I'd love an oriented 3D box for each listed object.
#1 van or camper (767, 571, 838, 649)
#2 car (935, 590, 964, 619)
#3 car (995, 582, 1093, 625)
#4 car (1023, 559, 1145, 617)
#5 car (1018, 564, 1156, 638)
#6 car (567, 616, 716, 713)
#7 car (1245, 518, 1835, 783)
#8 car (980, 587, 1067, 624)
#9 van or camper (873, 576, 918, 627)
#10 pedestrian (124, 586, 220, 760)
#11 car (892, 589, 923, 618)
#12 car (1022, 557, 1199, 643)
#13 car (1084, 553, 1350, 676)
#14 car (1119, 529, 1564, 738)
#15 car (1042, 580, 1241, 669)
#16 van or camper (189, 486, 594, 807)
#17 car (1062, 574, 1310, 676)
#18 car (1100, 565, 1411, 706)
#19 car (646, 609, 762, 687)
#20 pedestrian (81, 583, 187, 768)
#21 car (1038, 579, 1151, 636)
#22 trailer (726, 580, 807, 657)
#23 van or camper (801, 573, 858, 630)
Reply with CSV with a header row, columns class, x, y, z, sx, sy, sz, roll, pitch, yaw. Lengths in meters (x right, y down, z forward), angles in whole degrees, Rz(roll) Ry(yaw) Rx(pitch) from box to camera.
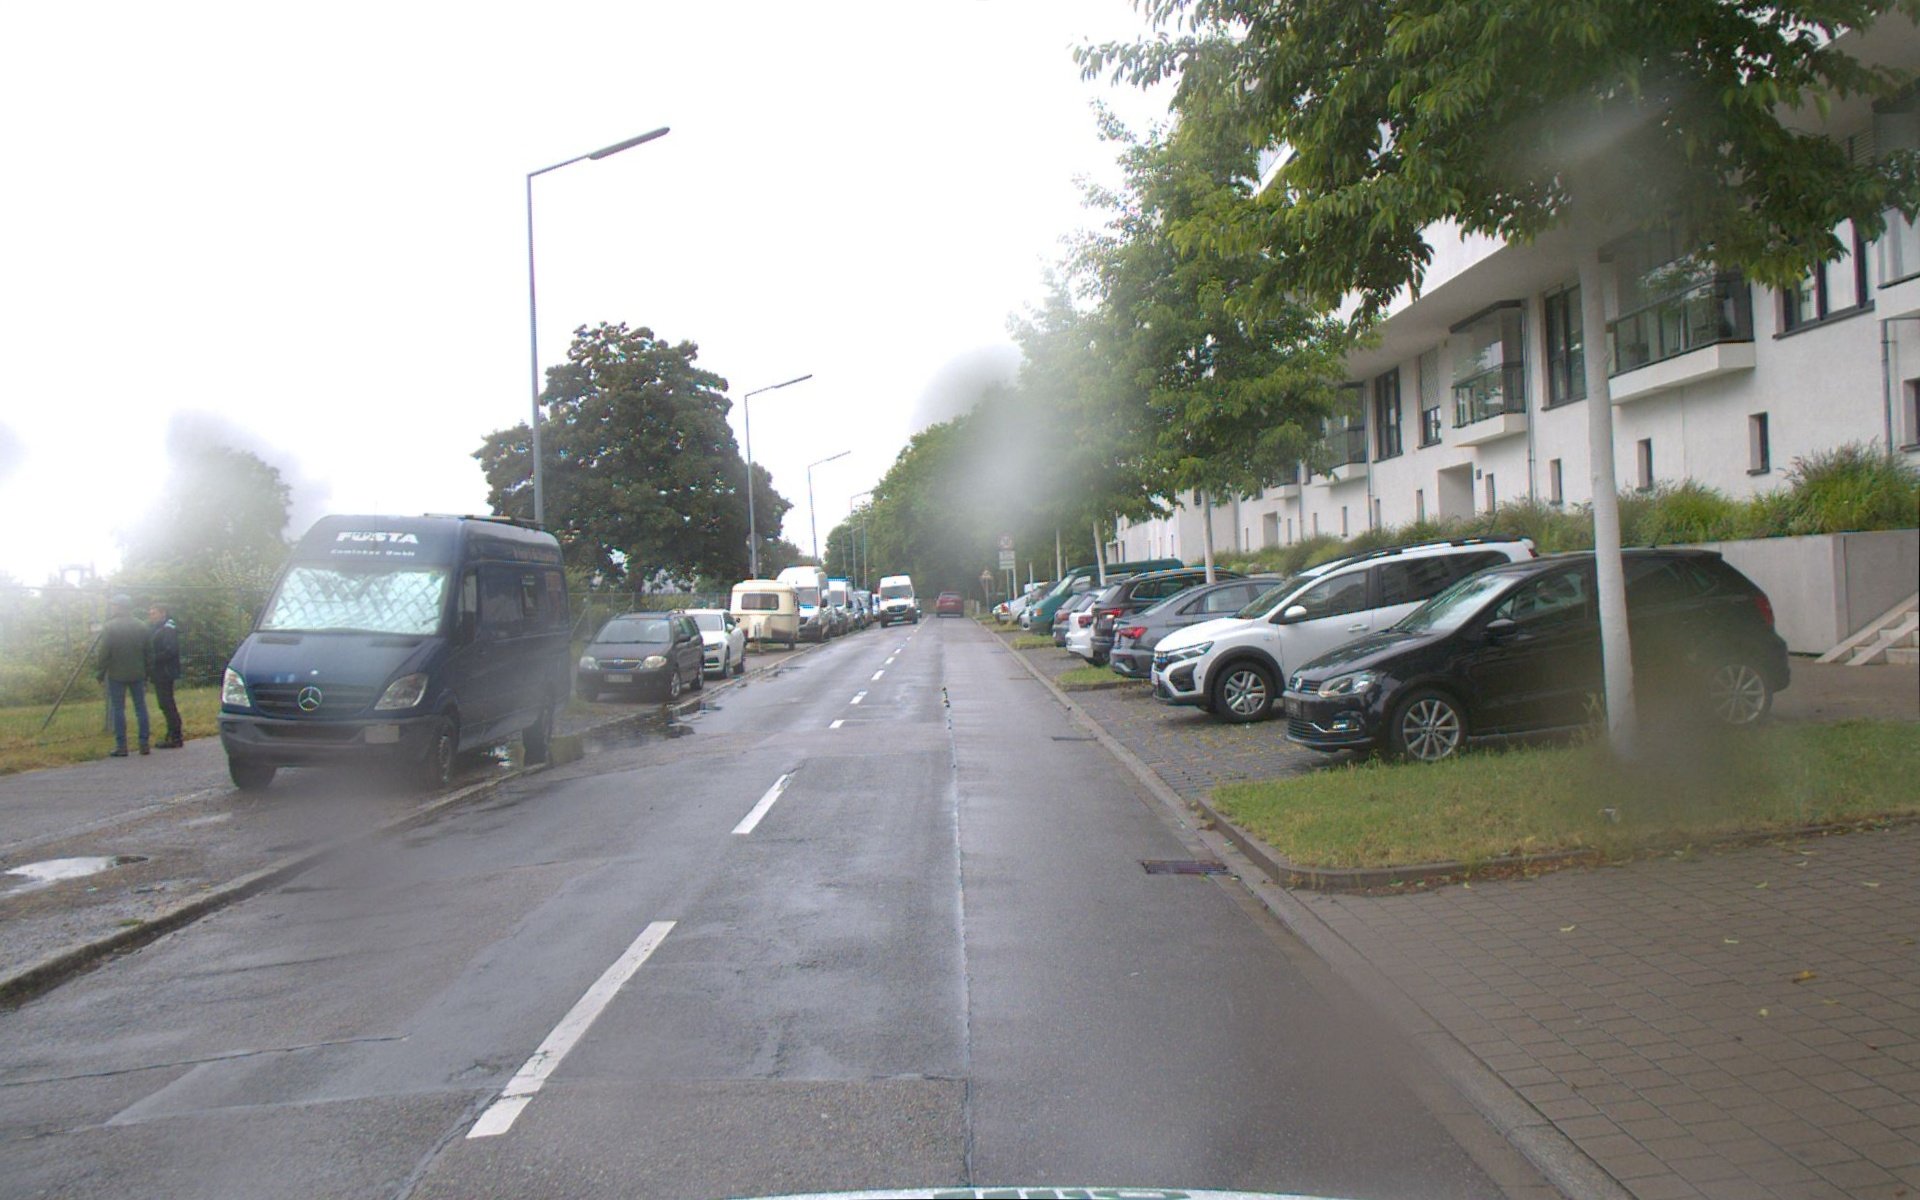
class,x,y,z,sx,sy,sz,roll,pitch,yaw
van or camper,-6.106,0.377,64.996,1.953,2.810,7.897,-2,0,0
car,-0.663,0.288,109.137,1.720,1.735,4.000,-4,0,1
car,3.835,0.155,75.853,4.299,1.662,2.005,-4,0,-1
car,4.187,-0.411,56.076,3.808,1.710,1.862,-3,0,-6
car,3.875,0.030,50.885,4.010,1.927,1.727,-4,0,0
car,-5.700,1.098,30.121,1.737,1.529,4.827,-1,0,0
car,4.501,0.354,13.243,3.911,1.521,1.935,-7,1,-4
car,3.165,0.276,82.440,4.015,1.602,1.865,-4,0,-8
van or camper,-3.494,0.094,90.594,1.953,2.540,7.178,-4,0,0
pedestrian,-9.531,0.863,20.029,0.705,2.049,0.853,-2,0,-1
car,-3.524,0.226,111.606,1.843,1.788,4.068,-3,0,1
car,4.130,-0.011,45.813,4.528,2.054,1.856,-4,0,-5
car,4.309,0.240,28.204,4.080,1.652,1.896,-5,0,-3
car,4.169,0.336,18.578,4.389,1.715,1.935,-7,1,-2
car,3.874,0.520,35.728,3.952,1.524,1.630,-5,0,-4
van or camper,-5.785,0.432,18.190,2.052,2.763,7.571,-1,0,-2
car,4.122,0.442,30.543,4.214,1.452,1.636,-5,0,-3
car,4.036,0.459,23.015,3.907,1.535,1.684,-5,1,-1
car,-5.569,0.997,36.593,1.848,1.552,5.108,-1,0,-1
pedestrian,-9.459,0.842,18.969,0.722,2.049,0.900,-2,0,-1
car,4.037,0.226,49.775,3.189,1.508,1.317,-3,0,-2
trailer,-6.082,0.545,52.711,2.017,2.256,5.792,-2,0,-2
van or camper,-6.155,0.068,78.926,2.144,2.504,6.376,-2,0,0
